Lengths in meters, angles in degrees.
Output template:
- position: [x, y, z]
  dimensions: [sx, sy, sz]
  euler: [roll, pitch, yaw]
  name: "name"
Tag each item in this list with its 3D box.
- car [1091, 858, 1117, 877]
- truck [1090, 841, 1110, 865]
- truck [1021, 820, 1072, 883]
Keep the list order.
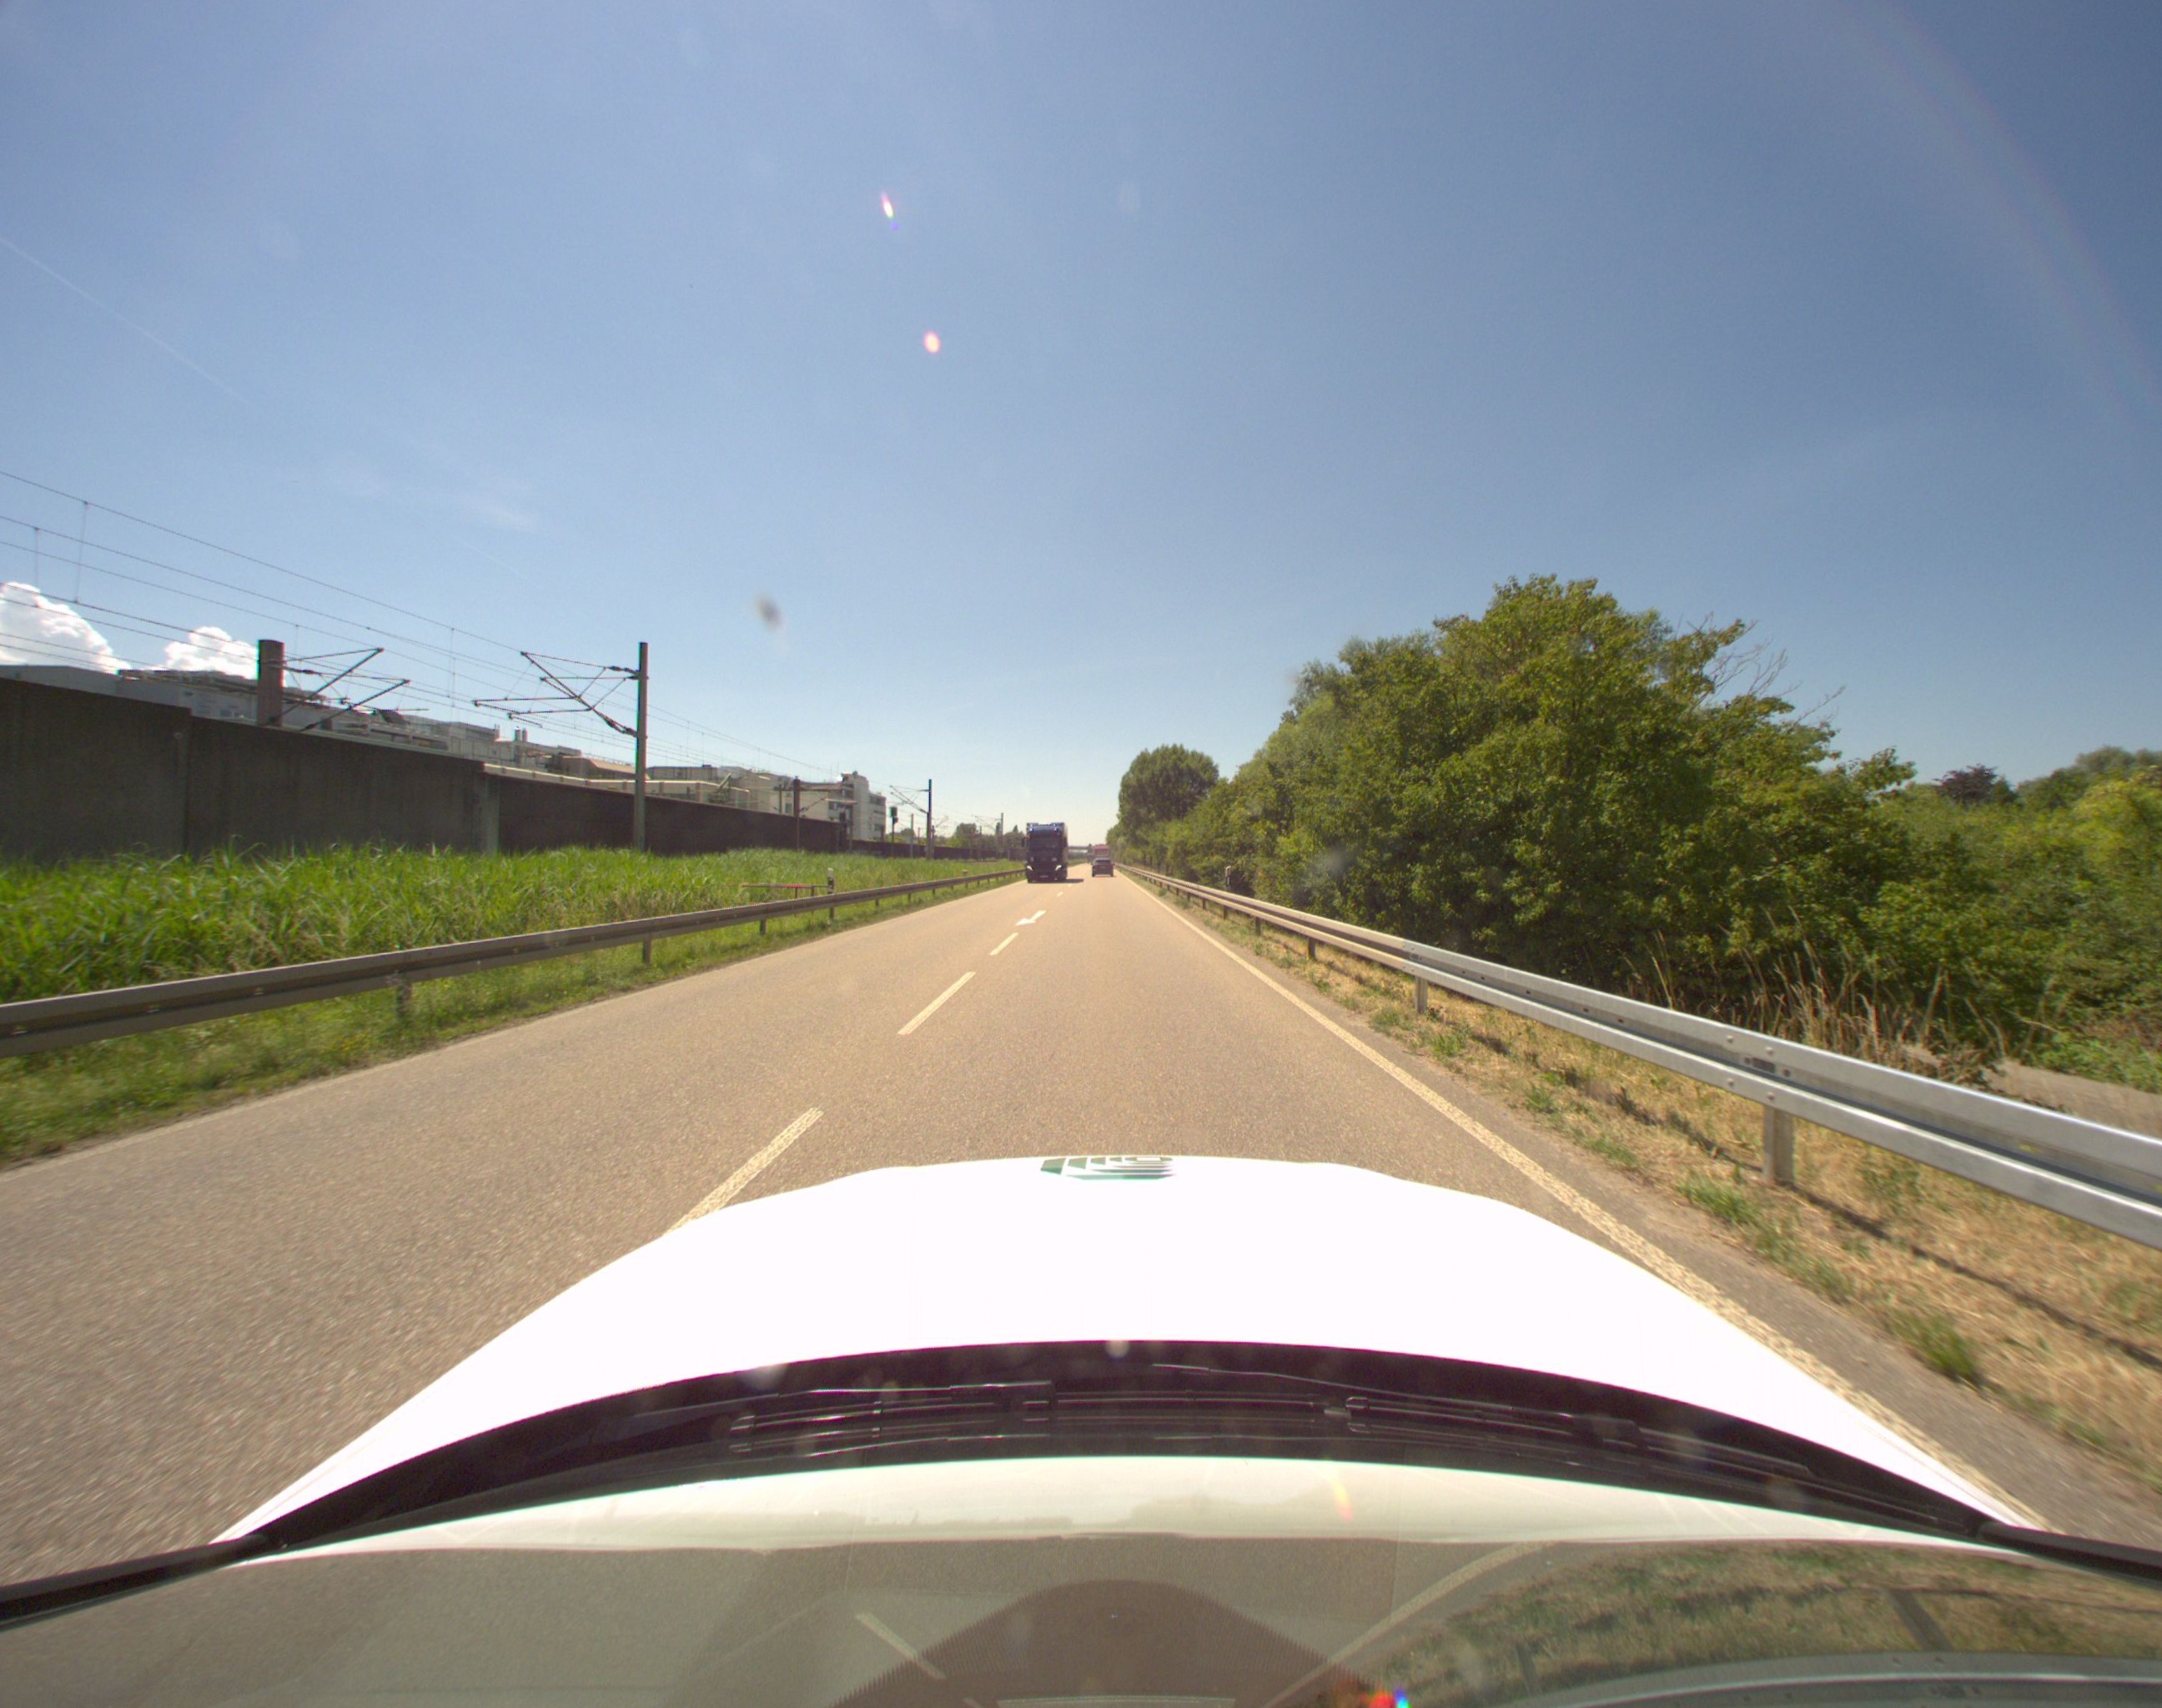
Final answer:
- position: [1.923, 1.100, 68.775]
  dimensions: [1.988, 1.508, 3.998]
  euler: [-1, 0, -1]
  name: "car"
- position: [2.799, -0.080, 120.276]
  dimensions: [2.760, 3.425, 10.821]
  euler: [0, -1, 1]
  name: "truck"
- position: [-2.275, -0.168, 57.633]
  dimensions: [2.787, 3.978, 10.502]
  euler: [-2, 0, 1]
  name: "truck"
